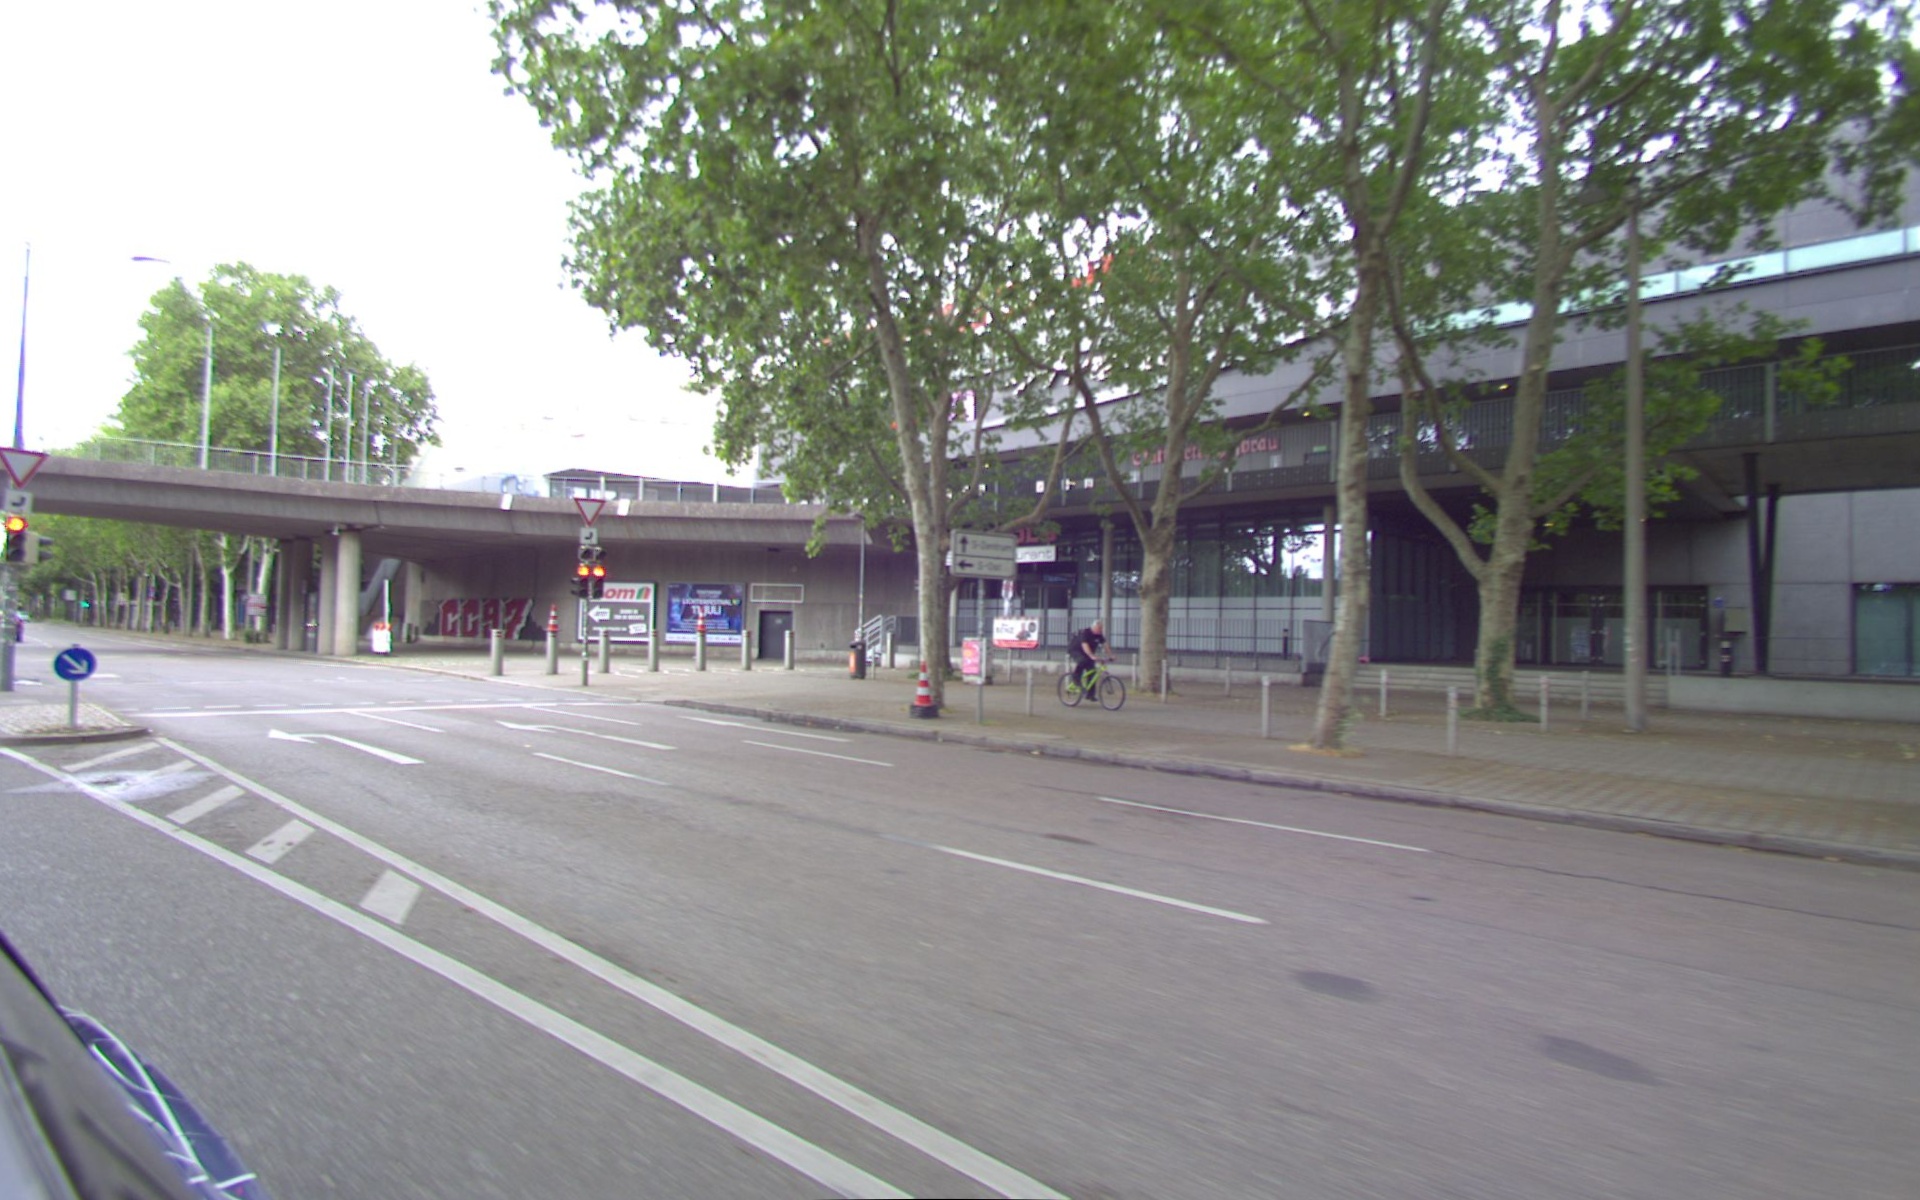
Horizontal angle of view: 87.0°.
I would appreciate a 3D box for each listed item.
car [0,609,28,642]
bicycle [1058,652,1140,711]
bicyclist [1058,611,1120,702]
[{"bbox_3d":[-45.822,1.194,48.259,1.806,1.463,4.083,4,-3,-41],"label":"car"},{"bbox_3d":[2.693,1.571,19.717,1.538,1.020,0.509,1,-2,42],"label":"bicycle"},{"bbox_3d":[2.536,1.099,19.905,0.854,1.710,0.756,1,-3,42],"label":"bicyclist"}]
